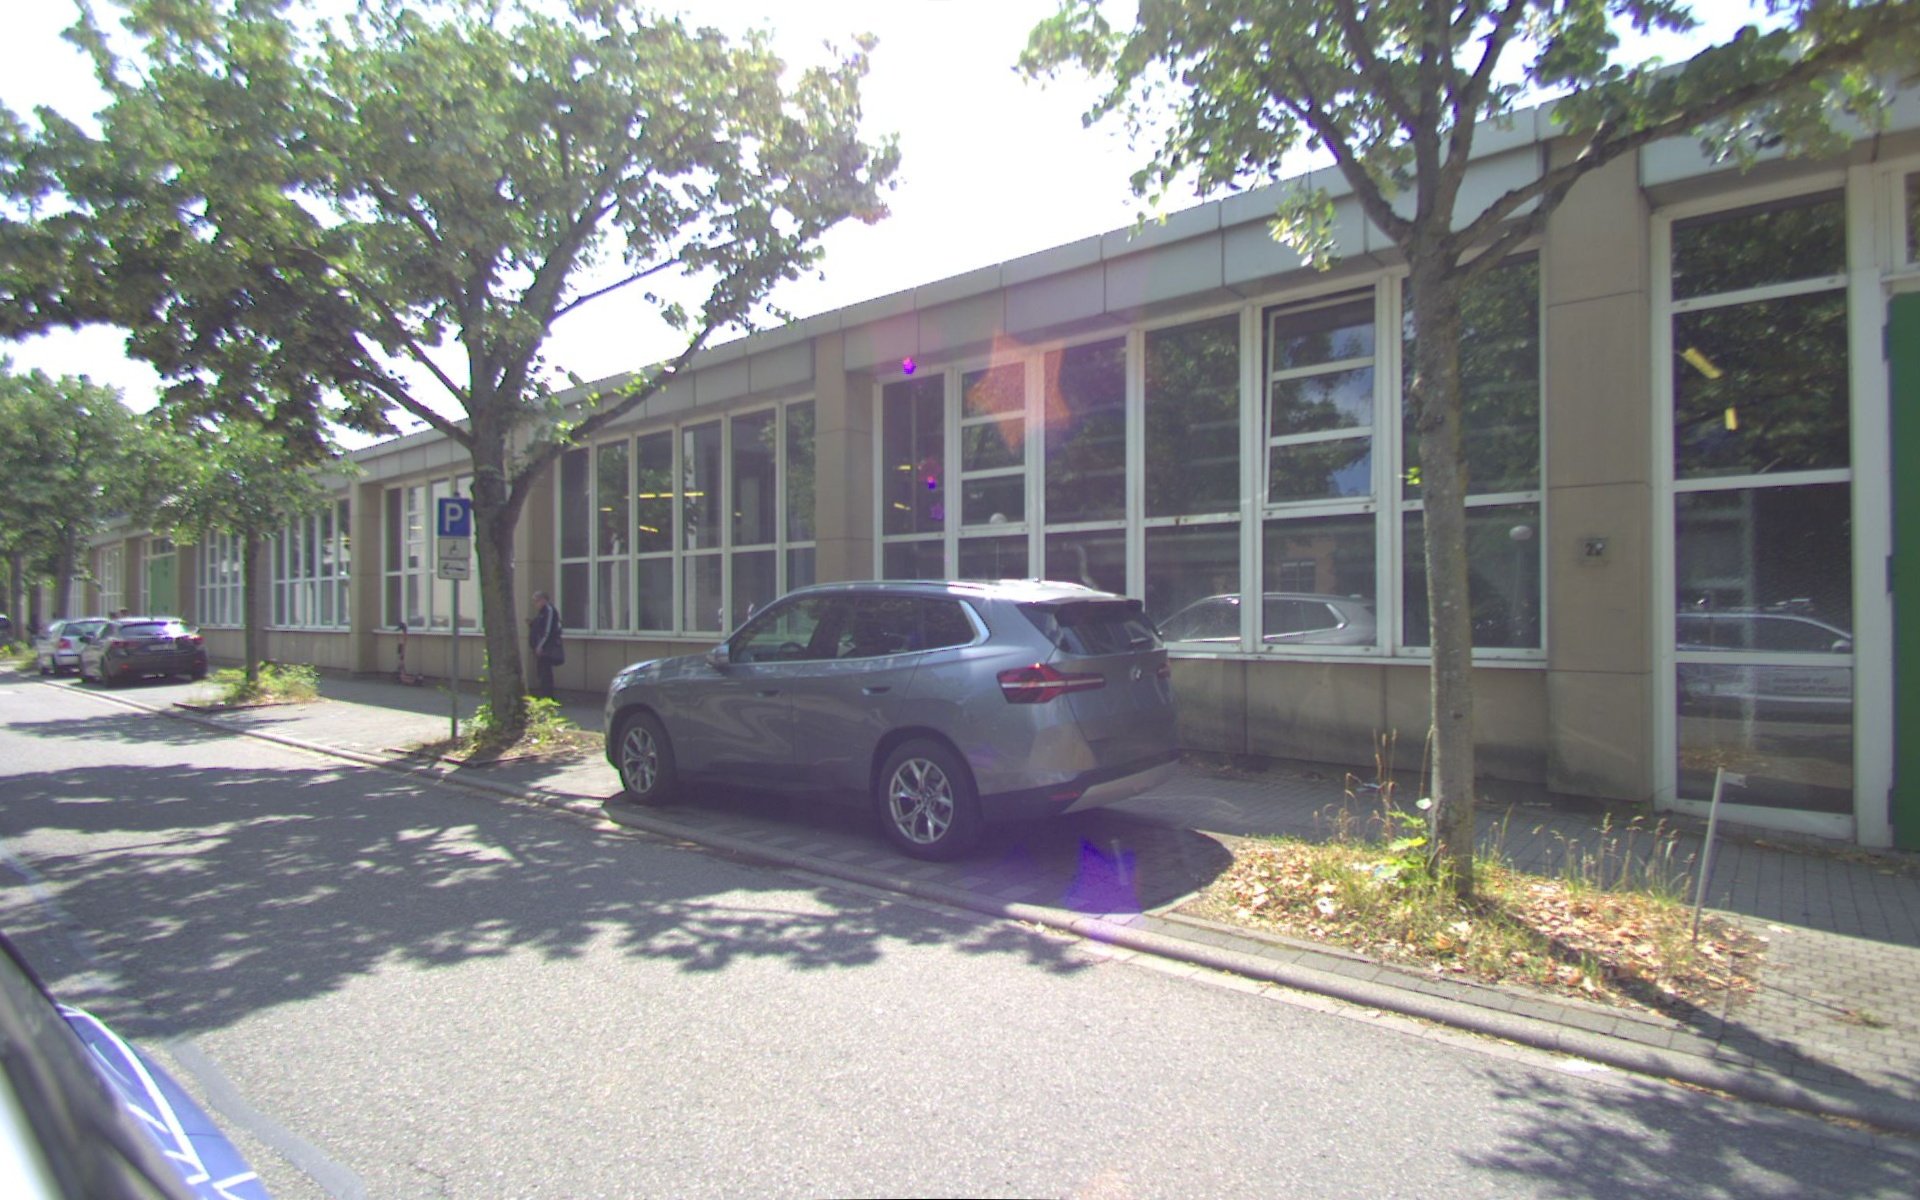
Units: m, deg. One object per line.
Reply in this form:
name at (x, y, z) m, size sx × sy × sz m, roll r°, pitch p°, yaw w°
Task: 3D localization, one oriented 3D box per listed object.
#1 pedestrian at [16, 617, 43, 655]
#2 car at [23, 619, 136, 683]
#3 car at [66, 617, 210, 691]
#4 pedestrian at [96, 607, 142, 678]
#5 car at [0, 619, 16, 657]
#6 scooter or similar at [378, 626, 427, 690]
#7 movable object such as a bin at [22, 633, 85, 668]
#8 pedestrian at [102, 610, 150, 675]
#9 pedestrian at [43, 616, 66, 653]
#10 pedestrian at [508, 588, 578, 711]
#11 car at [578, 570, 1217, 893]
pedestrian at (-39.767, 1.536, 43.251) m, size 0.595 × 1.593 × 0.553 m, roll 1°, pitch -3°, yaw -19°
car at (-22.868, 1.262, 26.257) m, size 3.749 × 1.460 × 1.613 m, roll -1°, pitch 1°, yaw 40°
car at (-18.476, 1.173, 22.681) m, size 4.286 × 1.446 × 1.708 m, roll -2°, pitch 0°, yaw 40°
pedestrian at (-20.883, 1.039, 25.135) m, size 0.601 × 1.741 × 0.787 m, roll -1°, pitch -2°, yaw 40°
car at (-39.565, 1.559, 40.780) m, size 3.673 × 1.460 × 1.781 m, roll -1°, pitch 1°, yaw 40°
scooter or similar at (-11.024, 1.140, 20.005) m, size 1.245 × 1.216 × 0.379 m, roll -2°, pitch 0°, yaw 40°
movable object such as a bin at (-29.014, 1.605, 32.385) m, size 1.695 × 0.992 × 1.278 m, roll -2°, pitch 0°, yaw 41°
pedestrian at (-20.334, 1.017, 24.664) m, size 0.663 × 1.553 × 0.787 m, roll -1°, pitch -2°, yaw 40°
pedestrian at (-39.234, 1.516, 43.828) m, size 0.550 × 1.593 × 0.598 m, roll -2°, pitch -4°, yaw 38°
pedestrian at (-6.329, 0.734, 15.368) m, size 0.790 × 1.800 × 0.661 m, roll -2°, pitch -1°, yaw 40°
car at (-0.661, 0.673, 7.261) m, size 4.511 × 1.644 × 1.804 m, roll -1°, pitch 1°, yaw 38°
